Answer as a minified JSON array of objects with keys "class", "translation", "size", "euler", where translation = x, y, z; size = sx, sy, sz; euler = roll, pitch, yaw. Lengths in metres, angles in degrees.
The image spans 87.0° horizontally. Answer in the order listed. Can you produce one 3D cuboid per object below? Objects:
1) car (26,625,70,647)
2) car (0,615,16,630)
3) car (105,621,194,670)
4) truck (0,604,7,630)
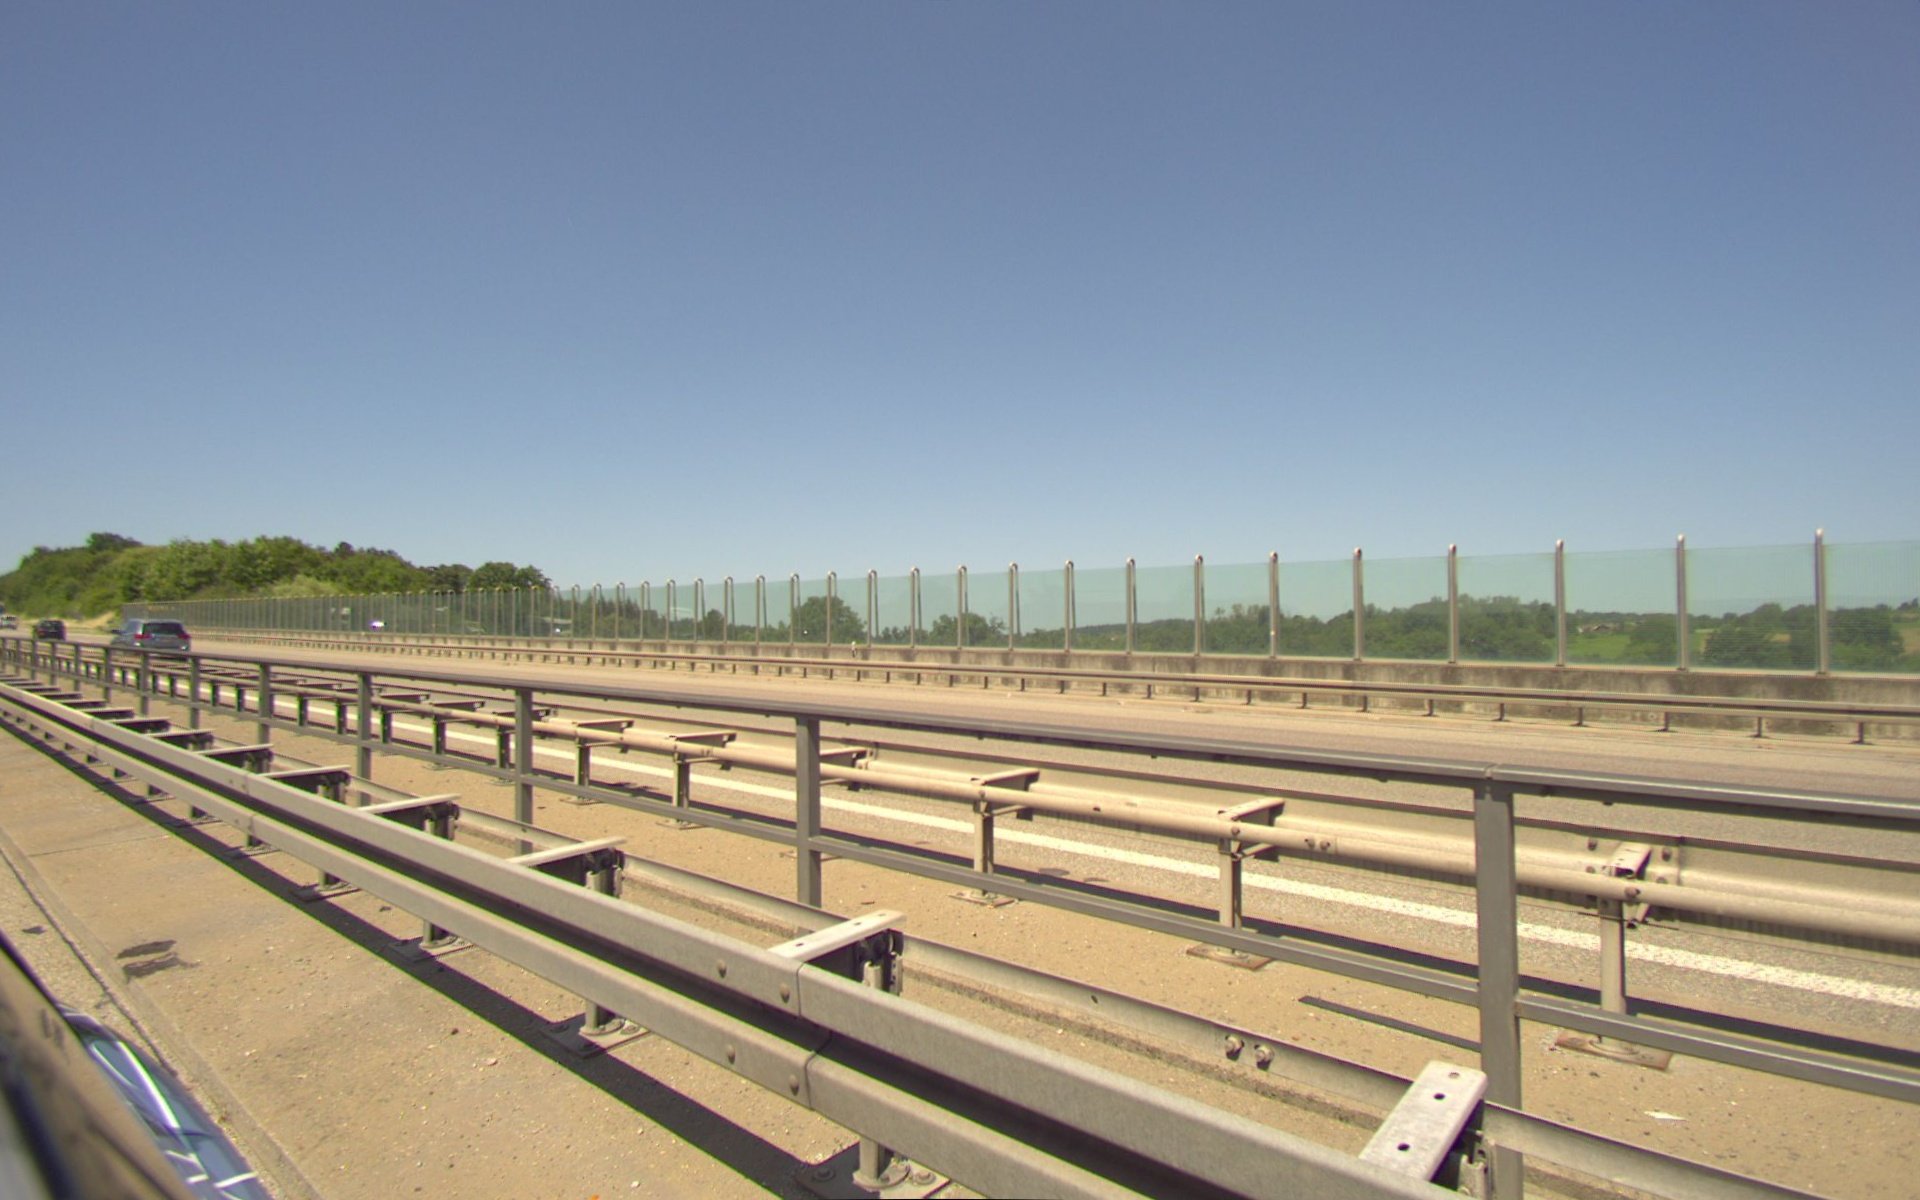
[{"class":"car","translation":[-71.583,2.828,79.433],"size":[4.183,1.685,1.973],"euler":[-1,-4,40]},{"class":"car","translation":[-132.552,3.120,140.297],"size":[4.487,1.999,2.013],"euler":[-1,-5,41]},{"class":"car","translation":[-29.580,1.629,36.892],"size":[4.475,1.639,1.787],"euler":[-1,-1,41]},{"class":"truck","translation":[-155.115,2.706,161.935],"size":[9.987,4.117,2.839],"euler":[-1,-4,42]}]
